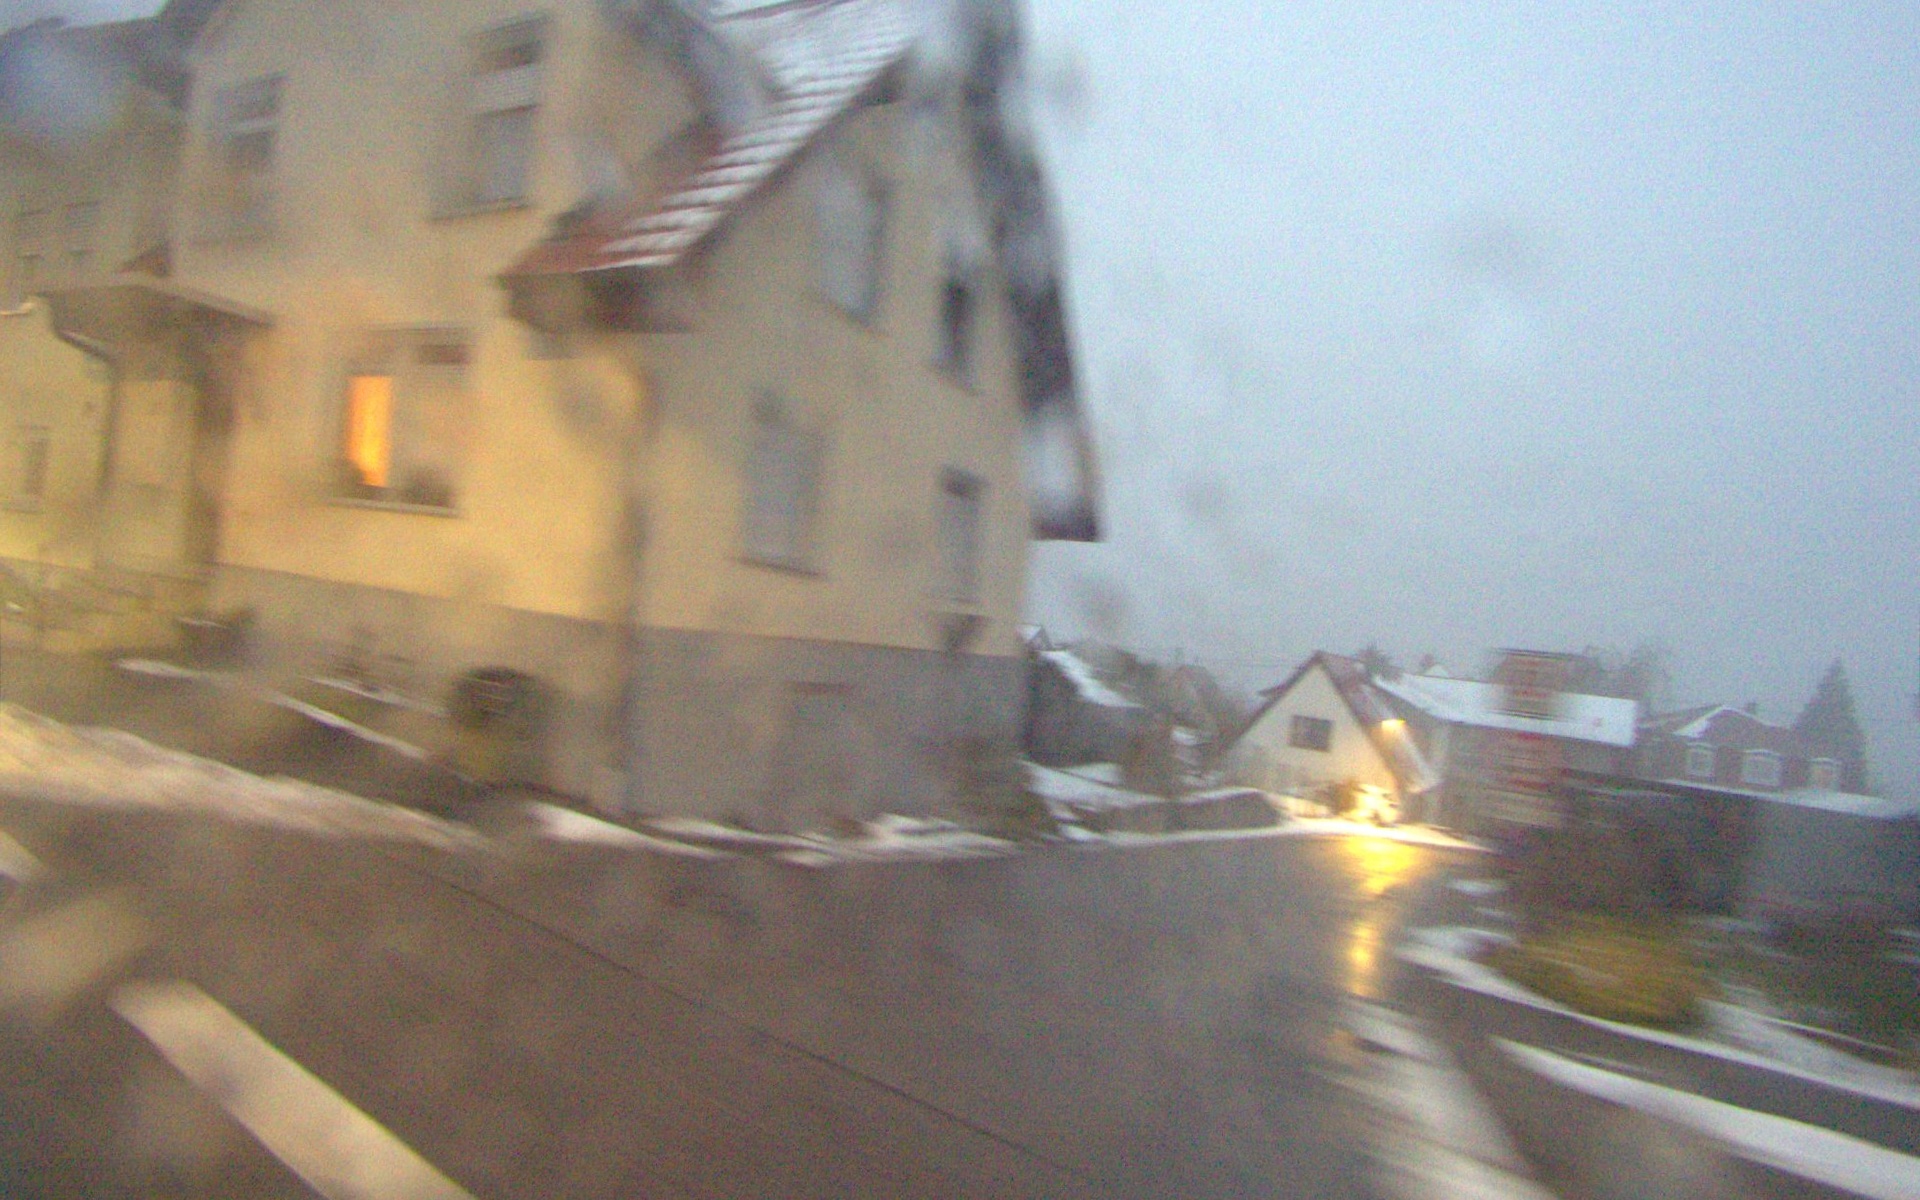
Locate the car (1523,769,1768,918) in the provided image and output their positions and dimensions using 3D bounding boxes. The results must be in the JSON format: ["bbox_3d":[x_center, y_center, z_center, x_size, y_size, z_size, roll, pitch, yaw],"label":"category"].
[{"bbox_3d":[11.730,4.109,17.174,3.953,2.029,1.694,7,-2,-28],"label":"car"}]
